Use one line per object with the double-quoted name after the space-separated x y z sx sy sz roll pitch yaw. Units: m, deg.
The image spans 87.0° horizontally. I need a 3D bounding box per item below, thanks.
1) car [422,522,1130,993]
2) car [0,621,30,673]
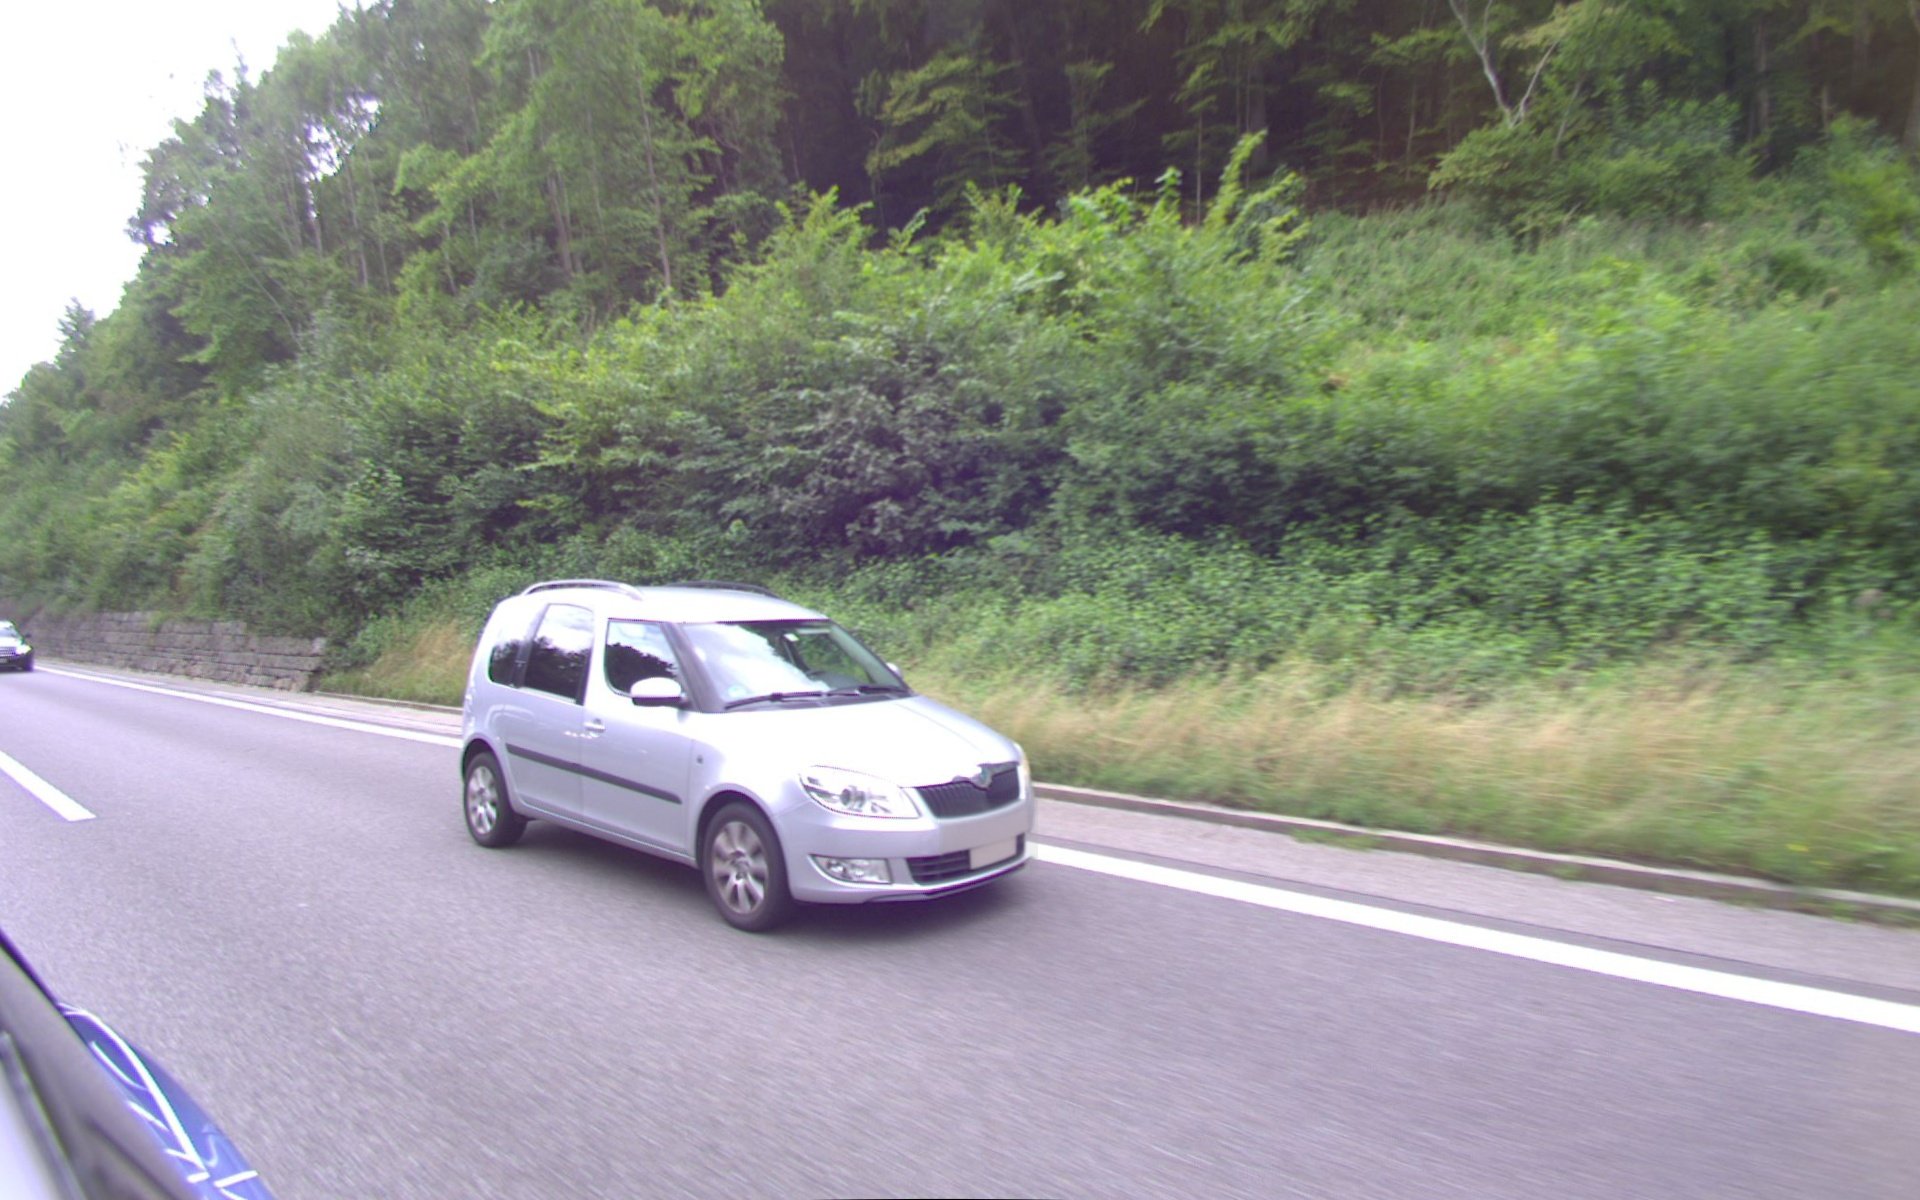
-1.323 0.635 5.796 4.342 1.740 1.617 -1 -3 41 "car"
-29.133 1.388 30.086 5.122 1.475 1.741 -2 -4 43 "car"
